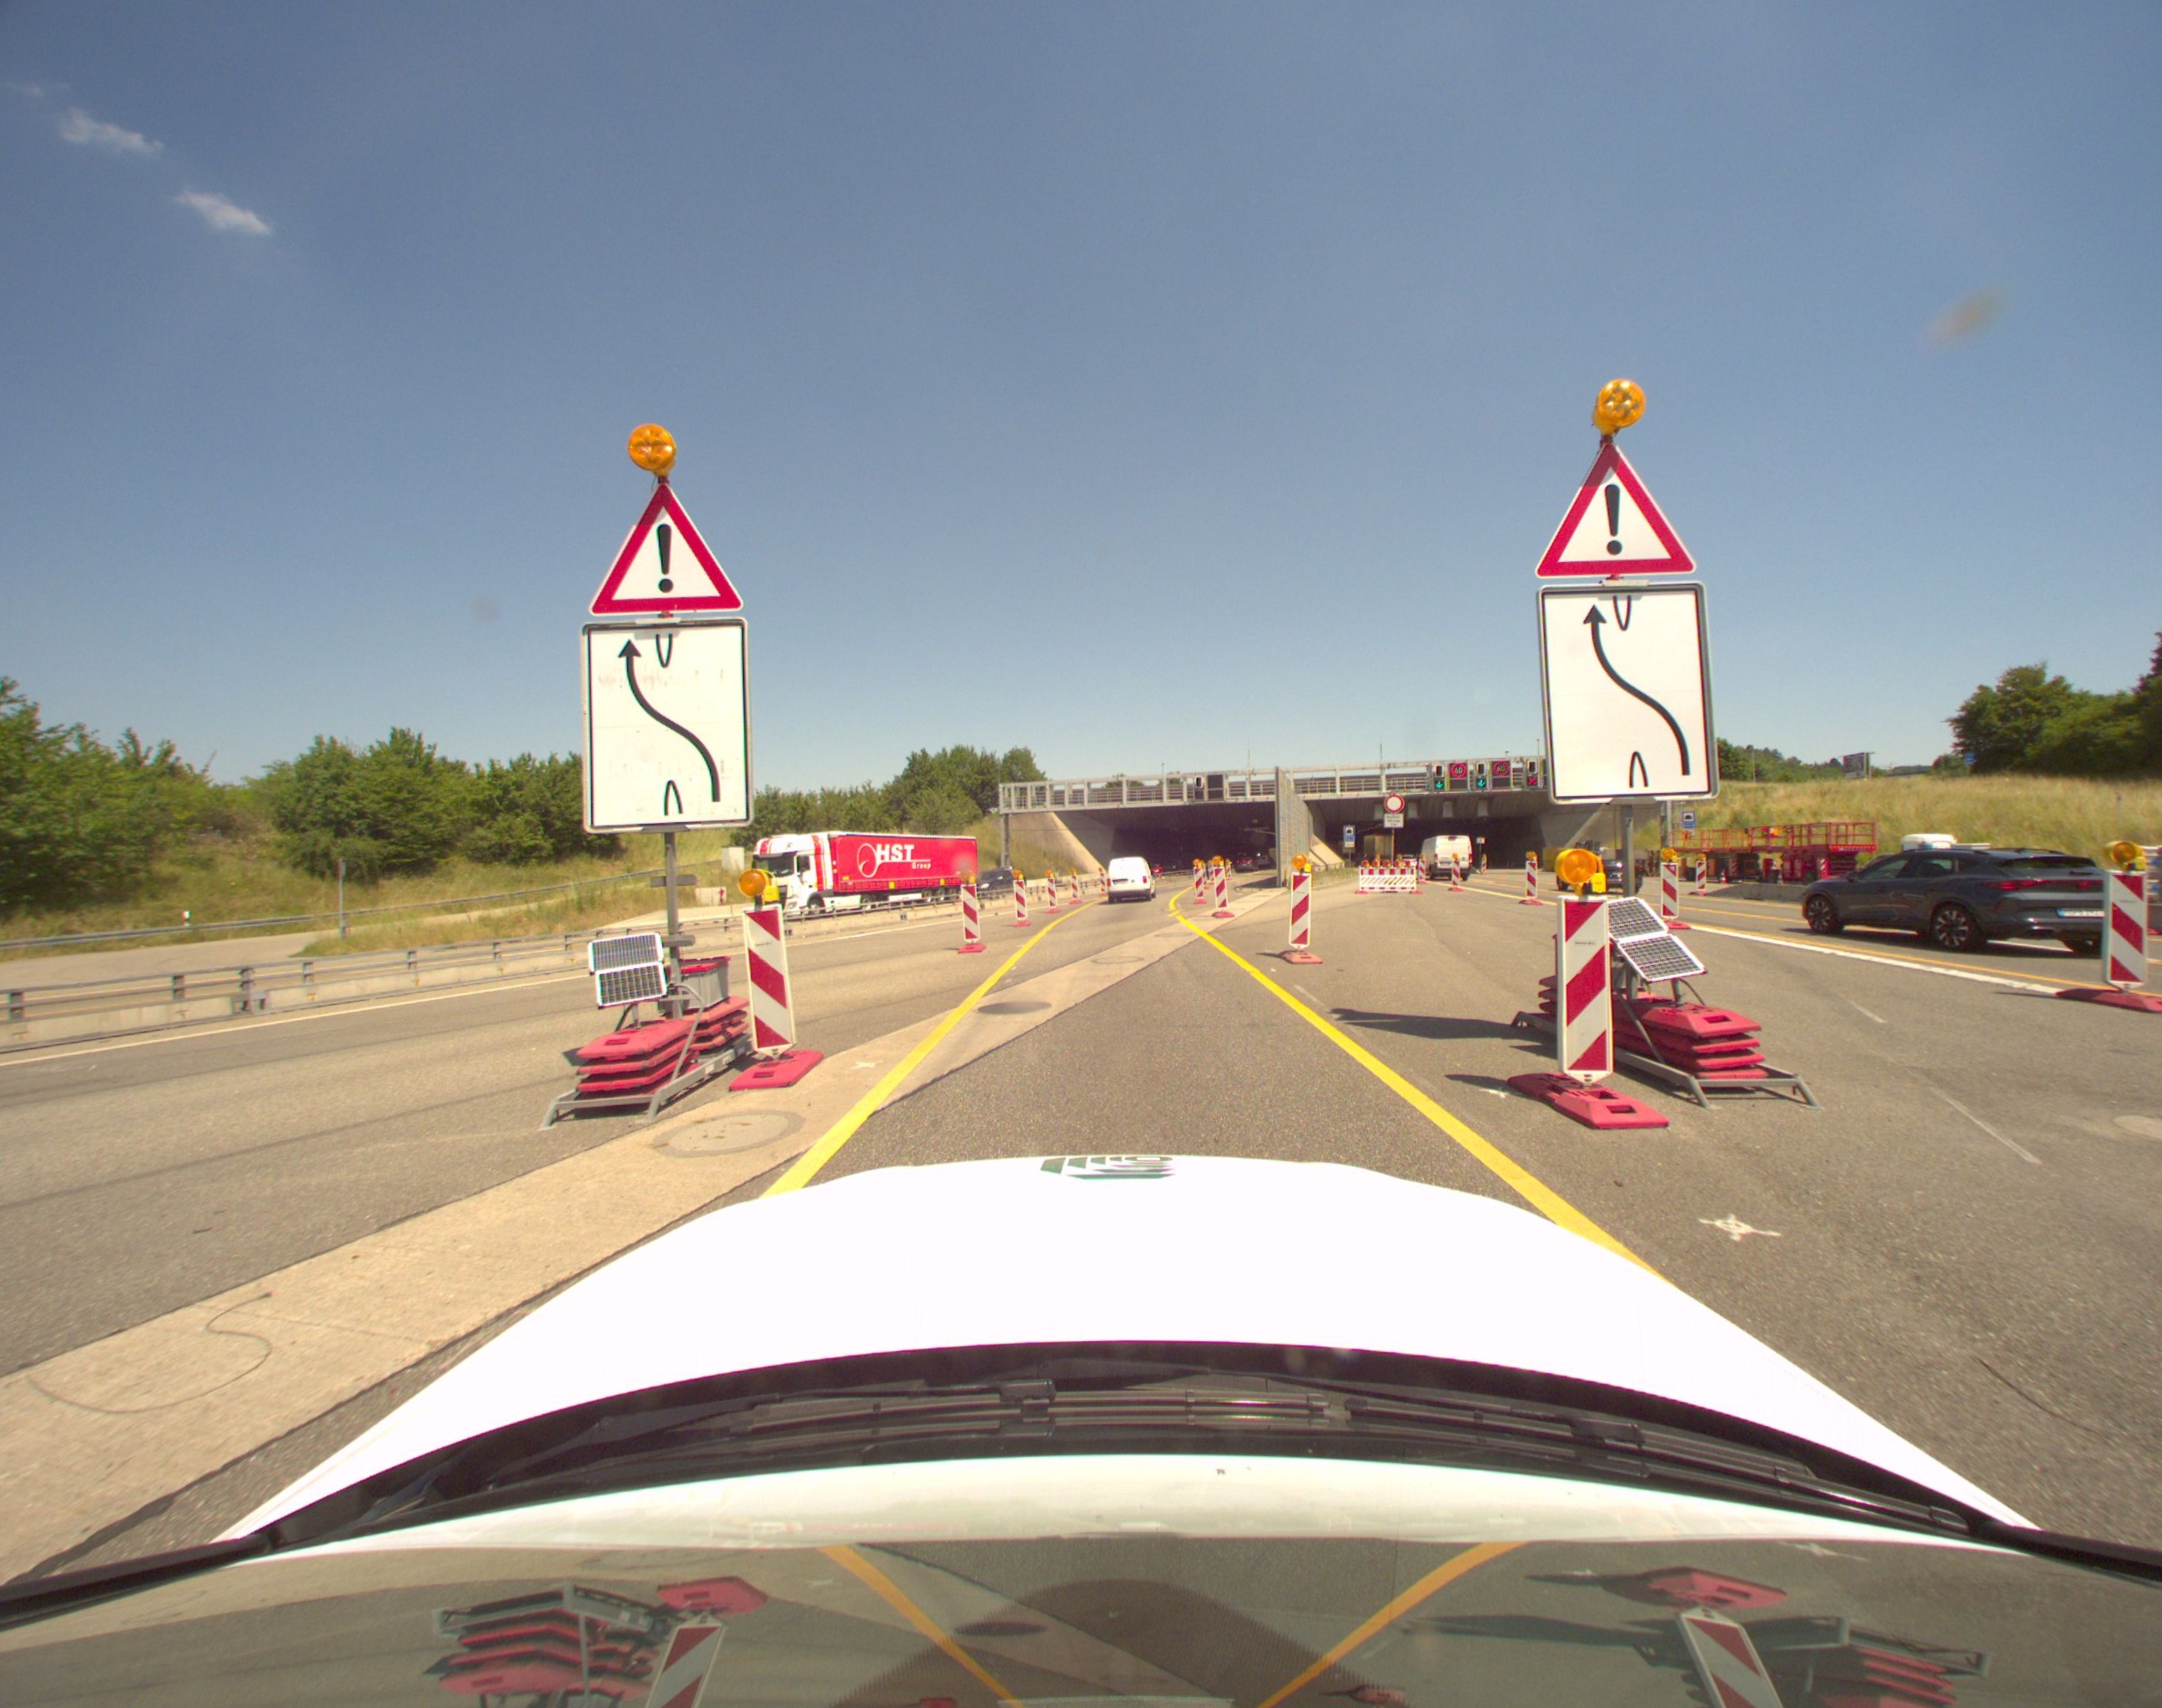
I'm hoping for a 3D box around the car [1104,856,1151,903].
[{"bbox_3d":[1.948,1.057,34.193,1.801,1.794,3.734,-2,-1,3],"label":"car"}]

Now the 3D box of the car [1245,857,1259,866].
[{"bbox_3d":[31.653,1.366,150.281,1.759,1.593,5.010,-5,-1,20],"label":"car"}]

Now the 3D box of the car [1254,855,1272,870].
[{"bbox_3d":[22.451,1.093,100.187,1.795,1.751,4.428,-2,-1,16],"label":"car"}]

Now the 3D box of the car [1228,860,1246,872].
[{"bbox_3d":[23.770,1.780,124.000,1.727,1.593,4.251,-4,-2,23],"label":"car"}]

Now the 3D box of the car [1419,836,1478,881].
[{"bbox_3d":[22.020,0.330,49.099,2.249,2.536,6.611,-1,-1,15],"label":"car"}]

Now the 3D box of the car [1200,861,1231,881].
[{"bbox_3d":[11.304,1.420,68.206,1.794,1.537,4.430,-2,-1,19],"label":"car"}]

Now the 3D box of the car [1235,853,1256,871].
[{"bbox_3d":[17.304,0.847,85.637,1.795,1.815,4.428,-2,-1,16],"label":"car"}]

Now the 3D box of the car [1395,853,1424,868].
[{"bbox_3d":[33.396,0.699,82.847,1.804,1.465,4.665,0,-1,10],"label":"car"}]

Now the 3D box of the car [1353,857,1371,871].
[{"bbox_3d":[34.101,1.276,98.839,1.801,1.642,4.671,0,-1,16],"label":"car"}]

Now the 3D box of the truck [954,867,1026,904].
[{"bbox_3d":[-5.113,1.749,46.663,1.976,1.873,4.787,-3,0,22],"label":"truck"}]

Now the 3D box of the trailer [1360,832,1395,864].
[{"bbox_3d":[40.661,-0.692,112.020,2.714,4.062,14.142,0,-1,13],"label":"trailer"}]

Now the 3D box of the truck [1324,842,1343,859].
[{"bbox_3d":[66.334,-0.830,214.277,3.379,4.071,16.590,0,-1,12],"label":"truck"}]

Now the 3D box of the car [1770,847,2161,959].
[{"bbox_3d":[13.876,0.677,13.187,1.982,1.486,4.688,0,-1,8],"label":"car"}]

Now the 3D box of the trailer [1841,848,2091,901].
[{"bbox_3d":[30.656,0.685,28.685,2.580,1.569,6.250,-3,-1,8],"label":"trailer"}]

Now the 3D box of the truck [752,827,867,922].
[{"bbox_3d":[-12.591,0.941,38.169,2.314,4.108,5.043,-3,-1,21],"label":"truck"}]

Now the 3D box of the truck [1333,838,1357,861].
[{"bbox_3d":[56.413,-0.944,174.479,3.379,4.336,16.589,0,-2,12],"label":"truck"}]

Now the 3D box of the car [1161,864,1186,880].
[{"bbox_3d":[11.584,2.190,101.885,1.672,1.834,4.813,-5,-2,22],"label":"car"}]

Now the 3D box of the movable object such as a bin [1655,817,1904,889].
[{"bbox_3d":[35.258,0.071,42.436,3.090,3.011,14.749,-3,-1,12],"label":"movable object such as a bin"}]

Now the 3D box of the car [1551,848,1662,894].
[{"bbox_3d":[20.656,0.679,32.311,2.005,1.663,5.254,-1,-1,12],"label":"car"}]

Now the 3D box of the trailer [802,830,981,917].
[{"bbox_3d":[-9.853,1.007,45.074,2.317,4.102,13.331,-3,-1,22],"label":"trailer"}]

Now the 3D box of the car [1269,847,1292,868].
[{"bbox_3d":[28.981,0.578,118.202,2.792,2.774,7.132,-3,-2,17],"label":"car"}]

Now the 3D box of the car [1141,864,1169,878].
[{"bbox_3d":[8.311,1.886,91.071,1.672,1.395,4.023,-5,-2,25],"label":"car"}]
